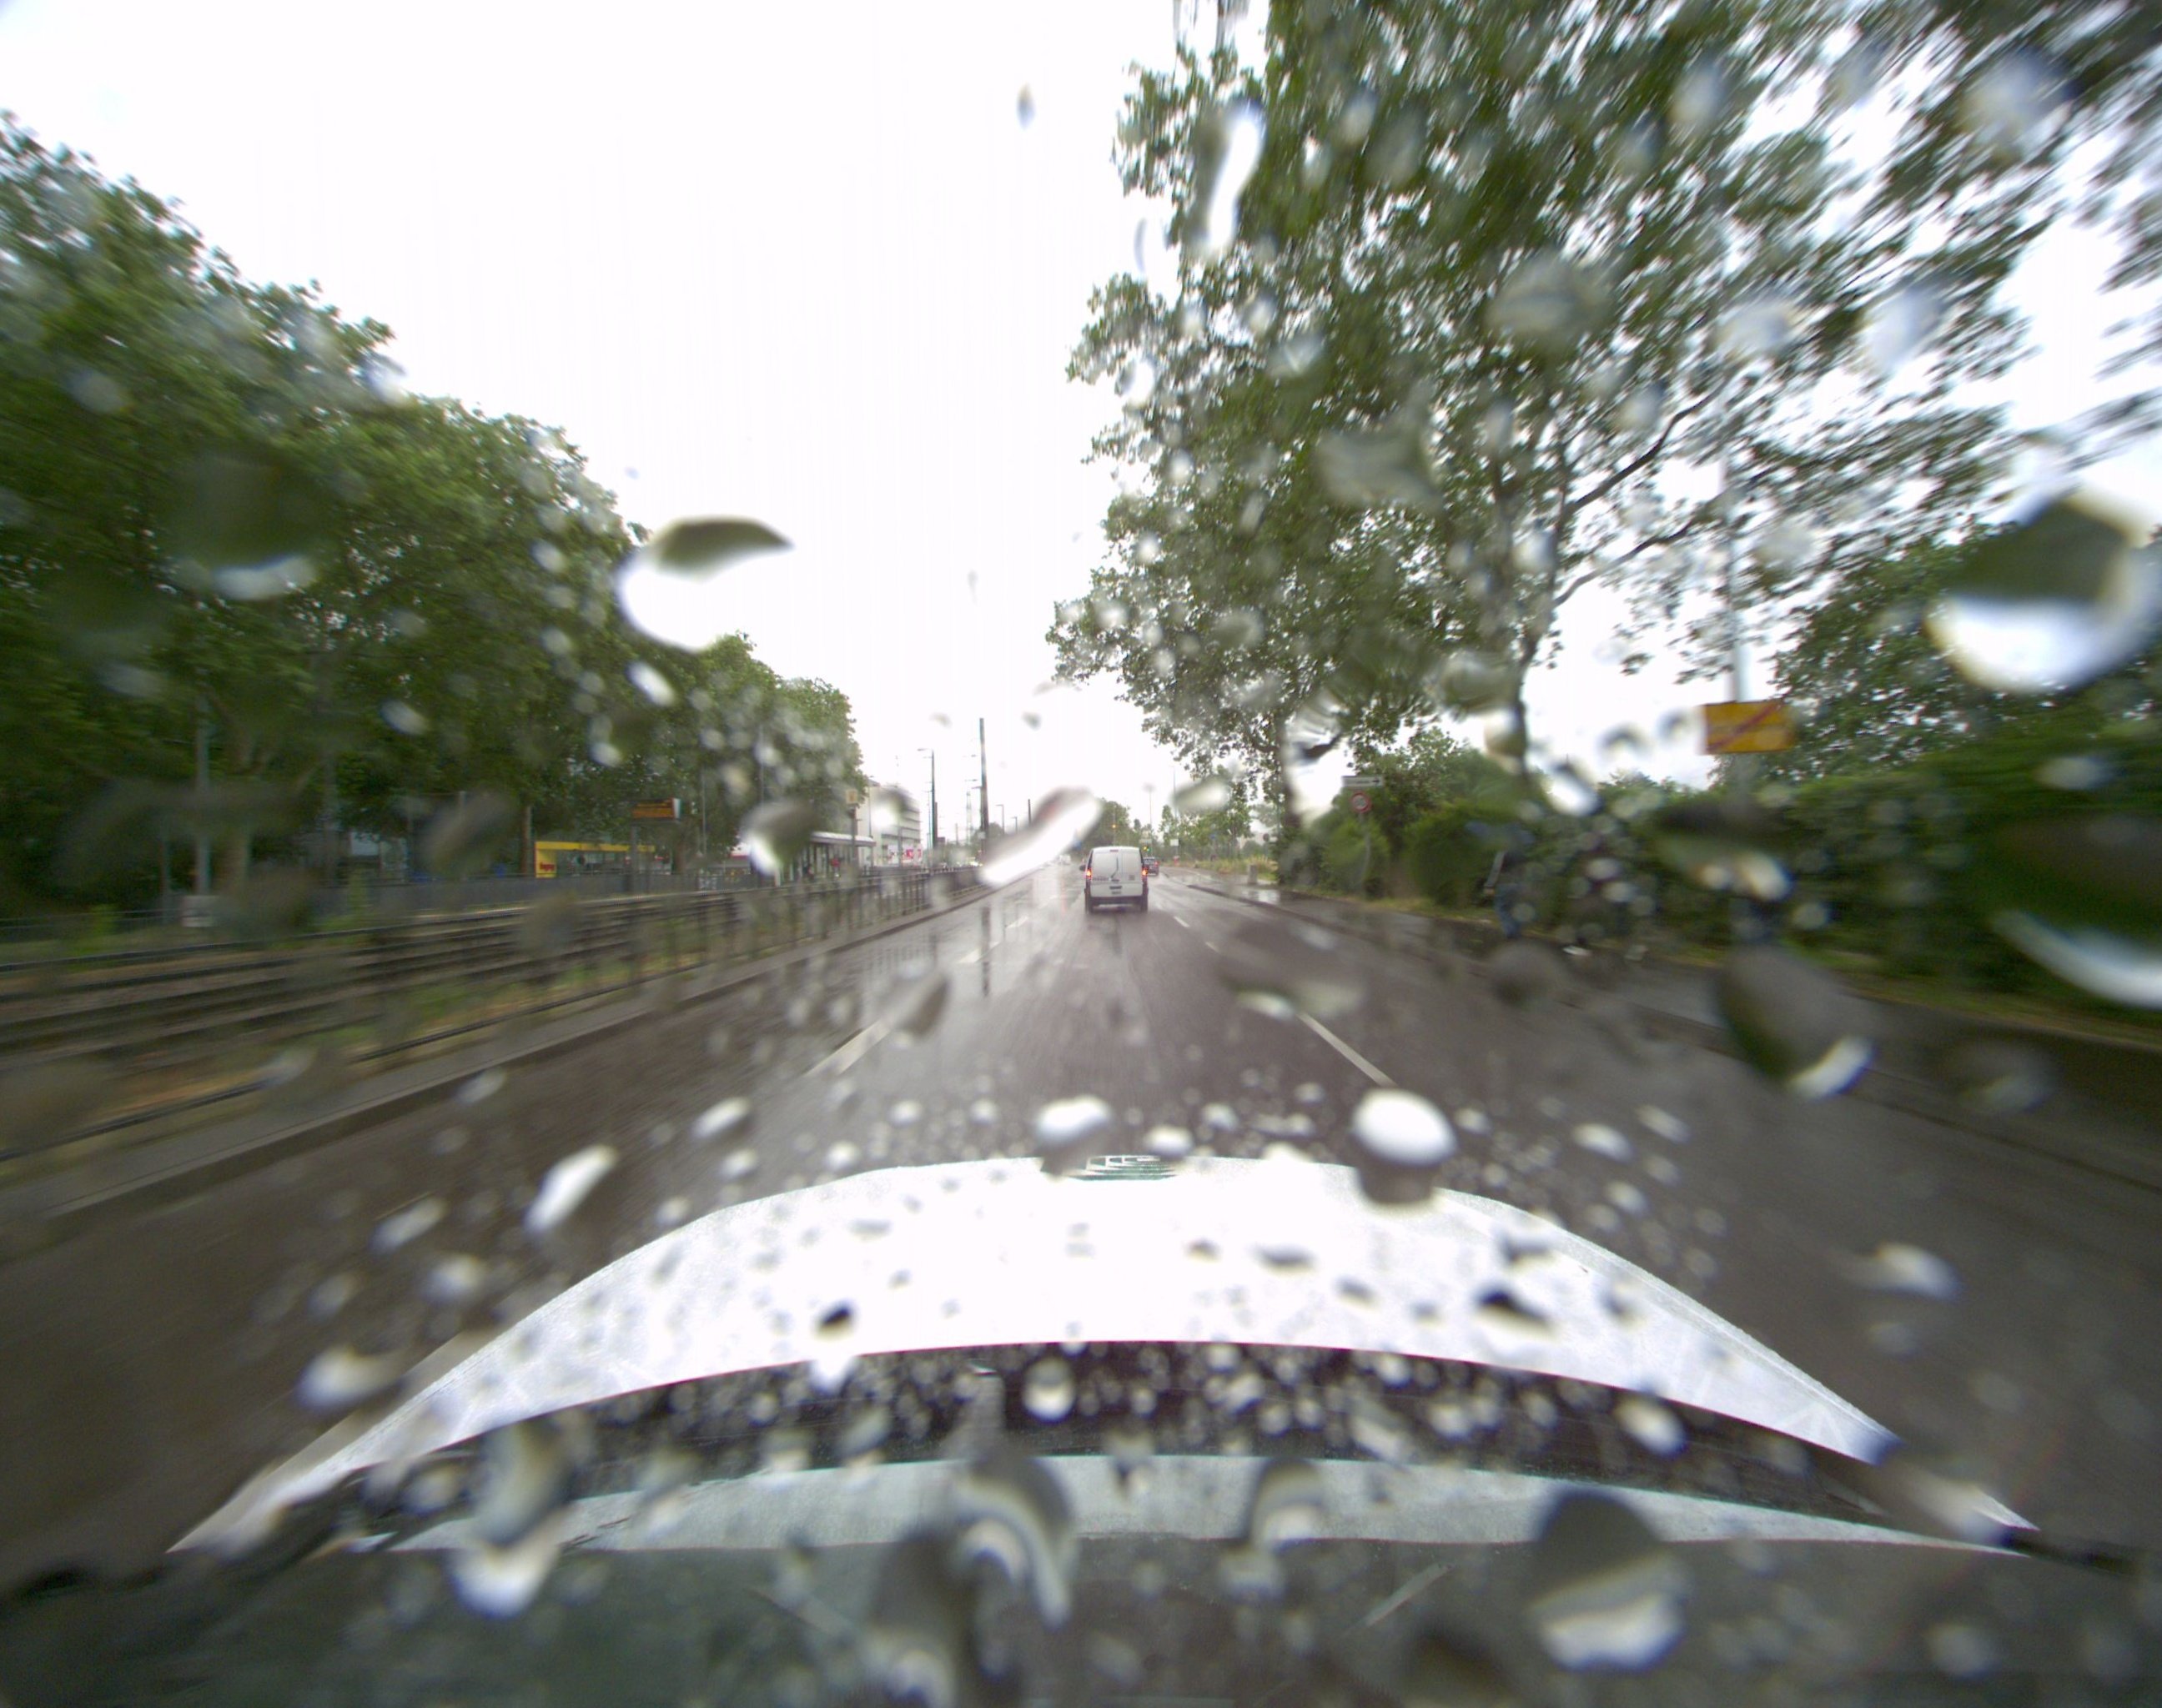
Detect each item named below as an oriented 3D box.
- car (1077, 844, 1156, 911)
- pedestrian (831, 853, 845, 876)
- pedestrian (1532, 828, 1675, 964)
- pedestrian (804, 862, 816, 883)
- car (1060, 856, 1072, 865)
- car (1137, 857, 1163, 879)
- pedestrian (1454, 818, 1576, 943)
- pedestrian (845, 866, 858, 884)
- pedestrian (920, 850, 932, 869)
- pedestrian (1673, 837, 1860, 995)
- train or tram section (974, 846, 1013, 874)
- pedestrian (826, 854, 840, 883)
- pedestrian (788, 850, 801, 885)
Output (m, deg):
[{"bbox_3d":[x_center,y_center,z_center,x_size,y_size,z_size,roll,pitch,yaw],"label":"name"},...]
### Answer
[{"bbox_3d":[0.921,0.640,23.670,2.019,1.775,4.271,0,-1,-1],"label":"car"},{"bbox_3d":[-16.885,0.748,56.520,0.829,1.561,0.667,1,-1,-25],"label":"pedestrian"},{"bbox_3d":[6.616,0.510,10.404,0.943,1.589,1.294,-2,-1,1],"label":"pedestrian"},{"bbox_3d":[-16.428,1.117,49.390,0.491,1.268,0.665,0,-1,5],"label":"pedestrian"},{"bbox_3d":[-2.971,1.346,158.571,1.990,1.750,3.992,0,-1,-5],"label":"car"},{"bbox_3d":[5.497,1.101,65.157,1.985,1.750,4.003,0,-1,3],"label":"car"},{"bbox_3d":[6.498,0.382,12.271,1.235,1.786,1.147,0,-1,1],"label":"pedestrian"},{"bbox_3d":[-16.680,1.519,59.240,0.640,1.303,0.815,0,-1,5],"label":"pedestrian"},{"bbox_3d":[-16.729,0.630,87.940,1.084,2.014,1.096,0,-1,1],"label":"pedestrian"},{"bbox_3d":[6.619,0.569,7.936,0.889,1.390,1.017,-3,-1,1],"label":"pedestrian"},{"bbox_3d":[-13.749,1.077,131.095,3.759,4.037,27.080,0,-1,-1],"label":"train or tram section"},{"bbox_3d":[-16.336,0.955,53.595,0.618,1.933,0.815,0,-1,5],"label":"pedestrian"},{"bbox_3d":[-16.526,0.788,46.982,0.491,2.014,0.583,0,-1,1],"label":"pedestrian"}]
